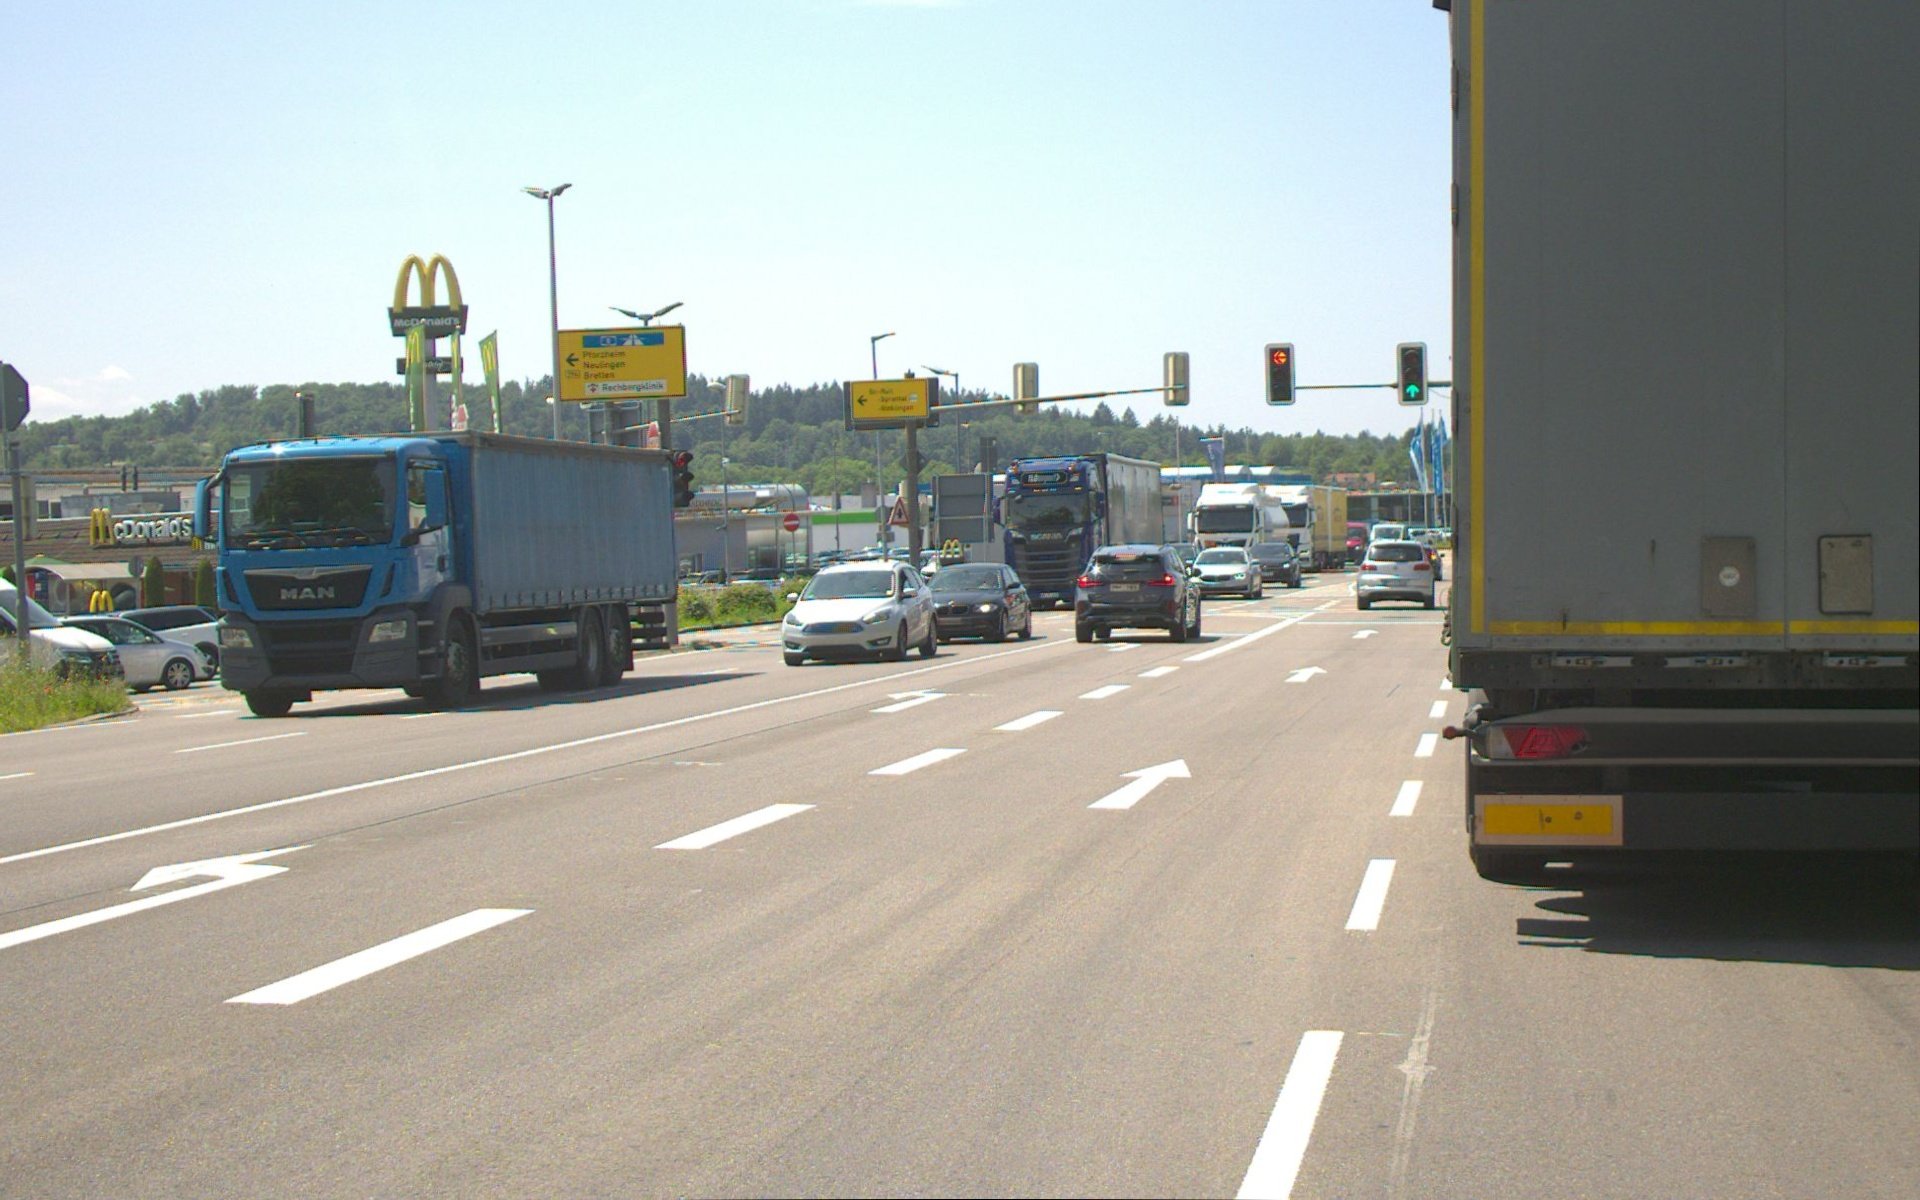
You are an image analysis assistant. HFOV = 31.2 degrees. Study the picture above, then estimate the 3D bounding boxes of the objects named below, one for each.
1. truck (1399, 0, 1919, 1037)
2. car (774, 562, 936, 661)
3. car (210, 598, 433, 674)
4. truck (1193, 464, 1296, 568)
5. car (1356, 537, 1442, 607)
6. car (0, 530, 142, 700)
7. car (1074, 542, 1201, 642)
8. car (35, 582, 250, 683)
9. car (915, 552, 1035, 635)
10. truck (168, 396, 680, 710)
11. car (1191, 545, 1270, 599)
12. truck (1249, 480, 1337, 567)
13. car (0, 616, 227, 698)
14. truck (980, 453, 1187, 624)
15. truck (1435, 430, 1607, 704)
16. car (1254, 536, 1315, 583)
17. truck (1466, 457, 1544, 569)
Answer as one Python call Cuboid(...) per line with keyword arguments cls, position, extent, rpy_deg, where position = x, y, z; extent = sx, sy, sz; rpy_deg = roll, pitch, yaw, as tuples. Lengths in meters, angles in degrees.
Cuboid(cls="truck", position=(4.281, -0.649, 21.254), extent=(2.756, 4.623, 16.649), rpy_deg=(0, 0, 8))
Cuboid(cls="car", position=(-1.531, 0.144, 51.757), extent=(1.789, 1.422, 4.262), rpy_deg=(0, 1, 7))
Cuboid(cls="car", position=(-12.708, 0.706, 68.541), extent=(4.001, 1.475, 1.789), rpy_deg=(0, 0, -38))
Cuboid(cls="truck", position=(11.641, -3.322, 139.506), extent=(2.935, 3.936, 14.232), rpy_deg=(-1, 1, 9))
Cuboid(cls="car", position=(10.712, -0.695, 83.711), extent=(1.805, 1.664, 4.290), rpy_deg=(0, 1, 11))
Cuboid(cls="car", position=(-16.231, 0.410, 54.044), extent=(5.991, 2.479, 2.195), rpy_deg=(-5, 1, 4))
Cuboid(cls="car", position=(3.079, -0.156, 58.938), extent=(1.794, 1.621, 4.368), rpy_deg=(-1, 1, 8))
Cuboid(cls="car", position=(-17.477, 0.676, 73.606), extent=(1.998, 2.007, 3.990), rpy_deg=(-1, 1, 43))
Cuboid(cls="car", position=(0.308, -0.138, 61.308), extent=(1.662, 1.399, 4.016), rpy_deg=(-1, 1, 7))
Cuboid(cls="truck", position=(-6.267, -0.546, 42.806), extent=(2.847, 3.340, 11.478), rpy_deg=(-1, 0, 9))
Cuboid(cls="car", position=(7.873, -0.823, 99.710), extent=(1.811, 1.503, 4.944), rpy_deg=(-1, 1, 10))
Cuboid(cls="truck", position=(15.974, -3.598, 164.191), extent=(2.936, 3.936, 13.859), rpy_deg=(-1, 1, 10))
Cuboid(cls="car", position=(-16.999, 1.118, 68.883), extent=(4.186, 1.595, 1.749), rpy_deg=(0, 0, -41))
Cuboid(cls="truck", position=(3.757, -1.773, 97.742), extent=(3.147, 4.334, 17.535), rpy_deg=(-2, 1, 11))
Cuboid(cls="truck", position=(10.745, -0.536, 66.561), extent=(2.876, 4.623, 16.649), rpy_deg=(0, 0, 8))
Cuboid(cls="car", position=(10.877, -1.368, 115.139), extent=(1.664, 1.503, 3.903), rpy_deg=(-2, 1, 10))
Cuboid(cls="truck", position=(19.209, -2.982, 121.216), extent=(2.609, 3.704, 9.446), rpy_deg=(0, 0, 9))
